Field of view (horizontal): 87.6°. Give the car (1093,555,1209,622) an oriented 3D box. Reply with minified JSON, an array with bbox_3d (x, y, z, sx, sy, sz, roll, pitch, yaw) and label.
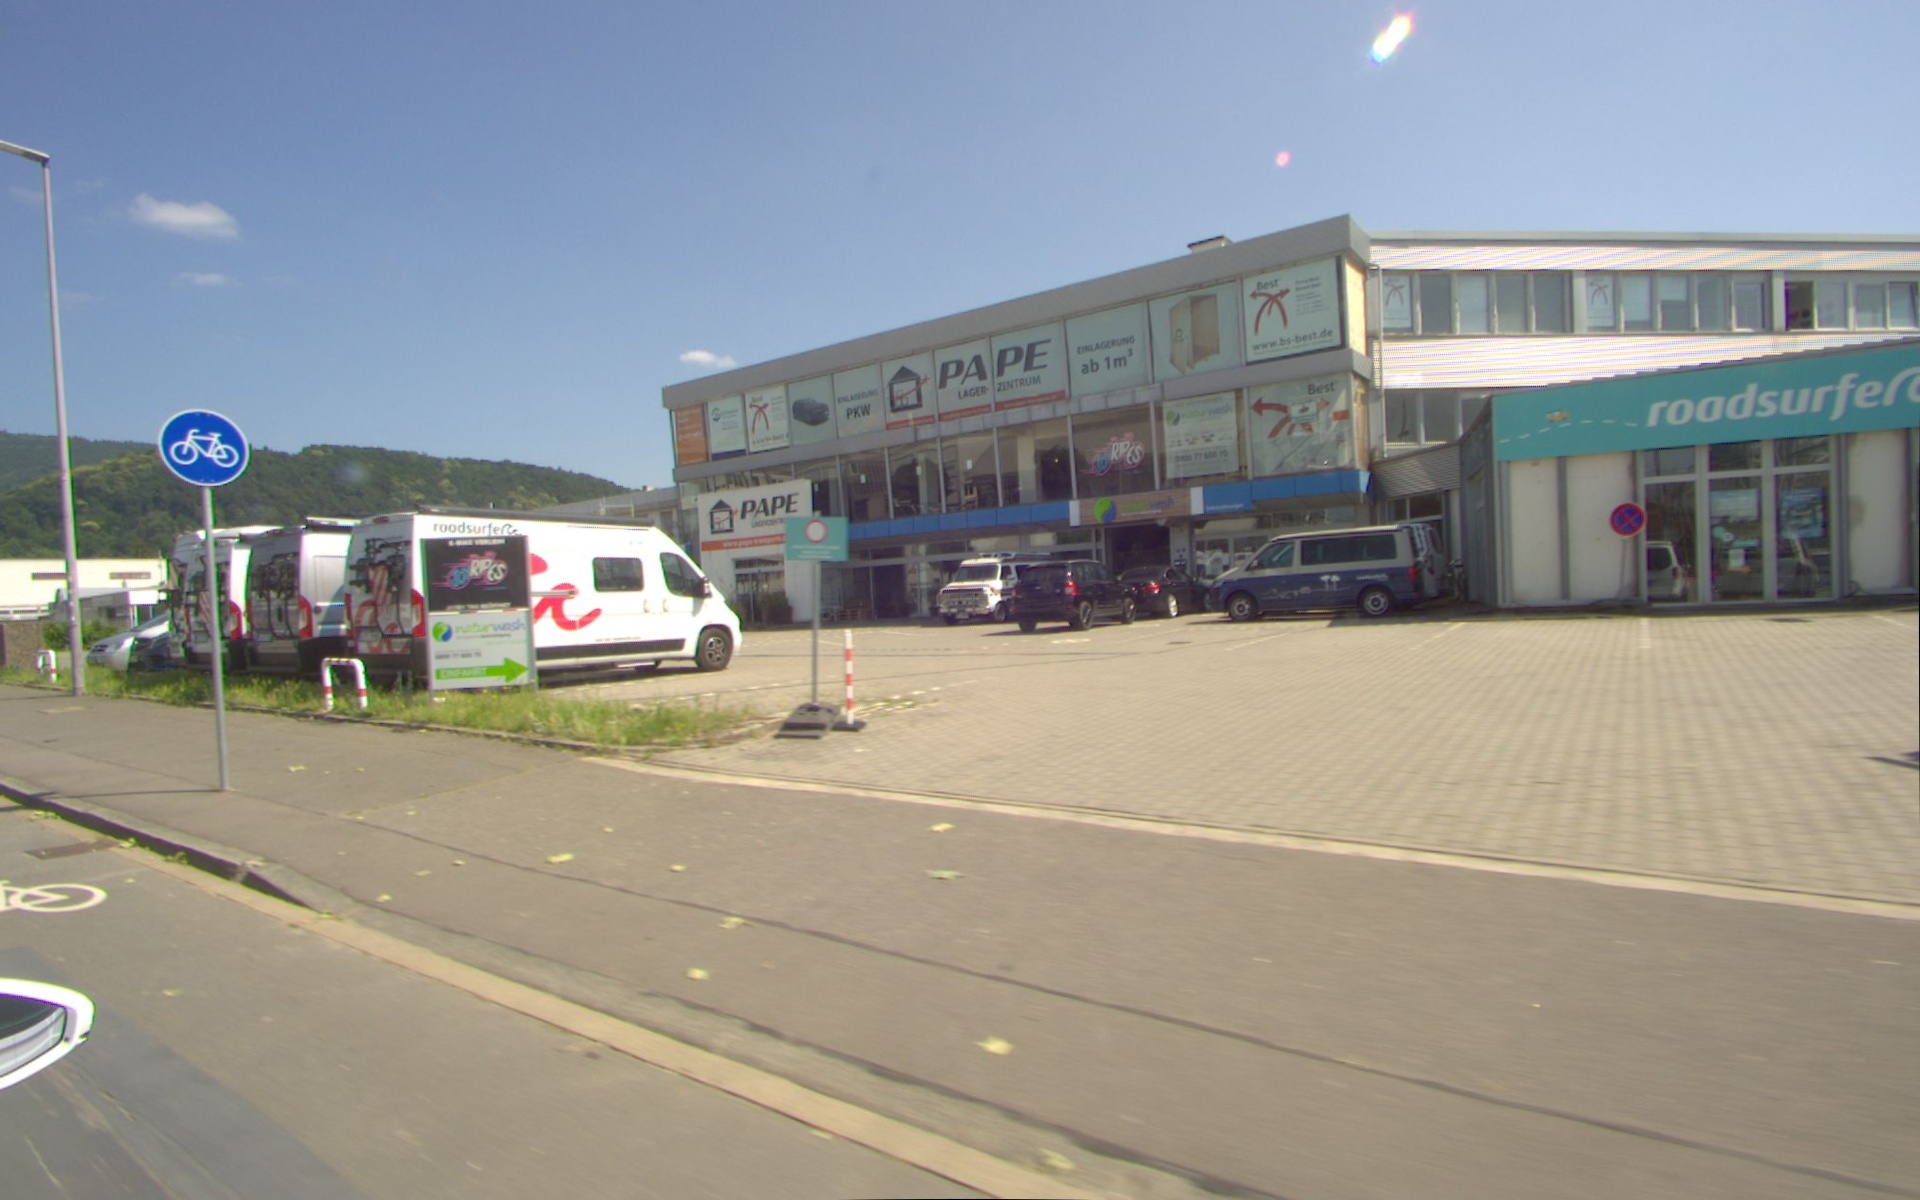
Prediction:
[{"bbox_3d":[5.603,-0.357,29.000,1.971,1.756,4.096,-1,1,31],"label":"car"}]

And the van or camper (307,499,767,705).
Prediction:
[{"bbox_3d":[-6.225,-0.048,15.726,2.584,2.558,6.174,-1,1,35],"label":"van or camper"}]

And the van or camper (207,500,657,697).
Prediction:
[{"bbox_3d":[-8.749,-0.093,17.385,2.676,2.753,6.327,-1,1,35],"label":"van or camper"}]

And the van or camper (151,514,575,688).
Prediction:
[{"bbox_3d":[-10.988,-0.053,19.085,2.676,2.736,6.327,-1,1,35],"label":"van or camper"}]

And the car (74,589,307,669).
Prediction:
[{"bbox_3d":[-17.753,0.606,23.274,1.774,1.615,3.909,-1,1,35],"label":"car"}]

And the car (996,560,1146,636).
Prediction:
[{"bbox_3d":[2.866,-0.104,24.903,1.971,1.701,4.527,-1,1,31],"label":"car"}]

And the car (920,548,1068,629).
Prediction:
[{"bbox_3d":[1.233,-0.410,32.861,2.295,2.451,5.279,-1,1,35],"label":"car"}]

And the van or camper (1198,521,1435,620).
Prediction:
[{"bbox_3d":[8.299,-0.635,23.404,4.946,2.041,1.990,-1,1,29],"label":"van or camper"}]

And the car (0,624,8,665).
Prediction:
[{"bbox_3d":[-41.236,1.822,39.530,4.953,1.640,2.025,-1,-4,-12],"label":"car"}]

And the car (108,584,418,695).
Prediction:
[{"bbox_3d":[-15.202,0.754,22.207,1.973,1.979,5.216,-1,2,35],"label":"car"}]

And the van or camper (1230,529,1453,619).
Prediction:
[{"bbox_3d":[9.692,-0.606,25.537,5.039,2.041,2.113,-1,1,30],"label":"van or camper"}]

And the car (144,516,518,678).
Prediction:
[{"bbox_3d":[-12.950,-0.123,21.172,2.289,2.908,6.207,-1,1,35],"label":"car"}]
